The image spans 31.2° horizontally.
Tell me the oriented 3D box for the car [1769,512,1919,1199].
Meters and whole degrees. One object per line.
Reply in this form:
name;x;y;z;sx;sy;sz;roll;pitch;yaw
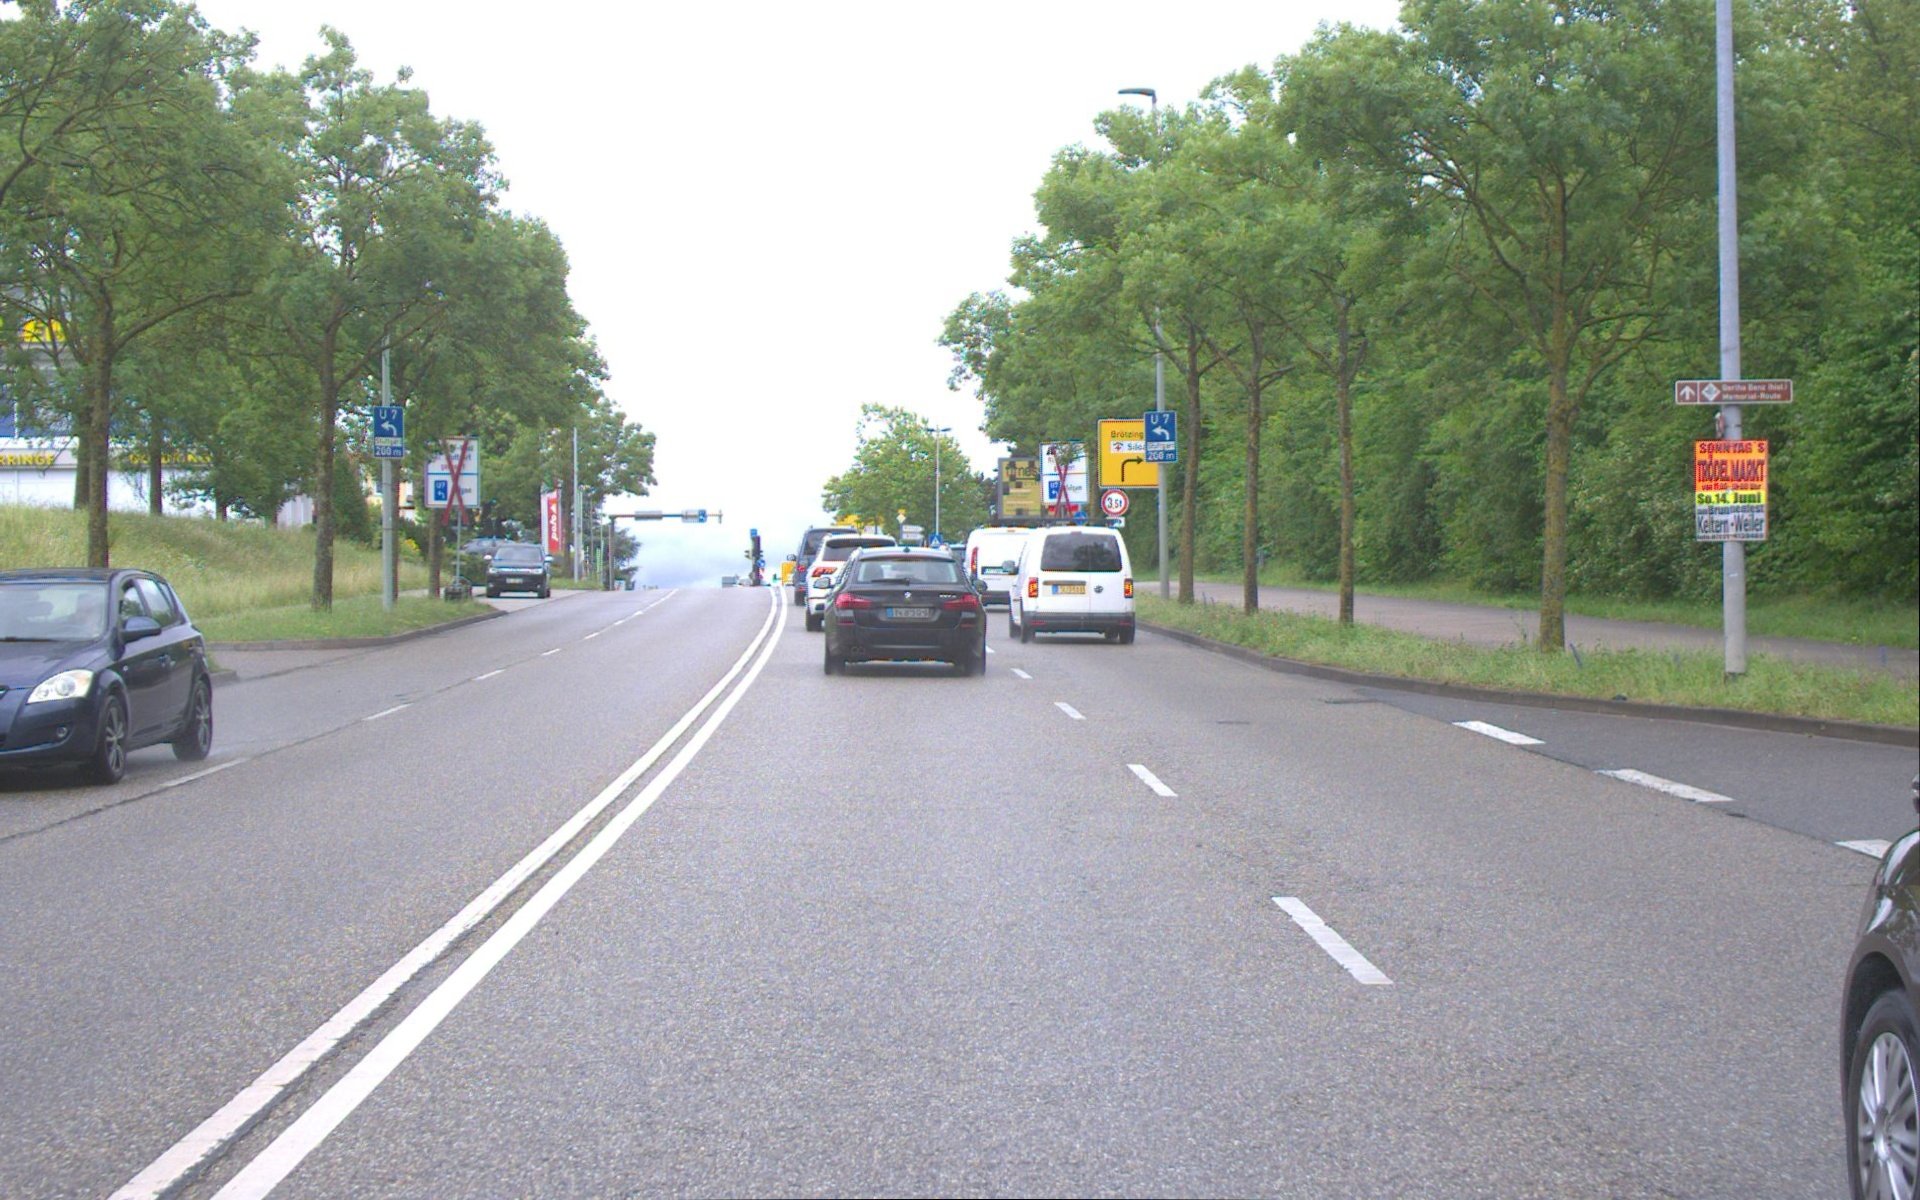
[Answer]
car;2.739;0.646;5.602;1.714;1.591;4.131;1;1;-2

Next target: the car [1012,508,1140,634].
car;1.778;-0.459;53.730;1.741;1.863;3.946;1;1;-1

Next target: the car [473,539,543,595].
car;-13.789;-1.020;105.016;1.726;1.662;4.488;1;1;-3

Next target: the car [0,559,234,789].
car;-6.532;0.480;24.374;1.737;1.449;4.000;-2;1;2

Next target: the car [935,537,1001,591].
car;0.183;-0.968;90.482;1.600;1.367;3.680;-1;1;-2

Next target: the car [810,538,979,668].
car;-0.751;0.010;40.218;1.855;1.414;3.957;1;1;-1

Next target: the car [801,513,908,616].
car;-1.802;-0.622;59.544;1.728;1.705;3.382;1;1;0

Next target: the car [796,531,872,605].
car;-2.986;-0.770;81.893;1.758;1.702;3.946;0;1;-1

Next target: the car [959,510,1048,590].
car;0.937;-1.103;75.928;1.814;1.702;3.946;0;1;-1
